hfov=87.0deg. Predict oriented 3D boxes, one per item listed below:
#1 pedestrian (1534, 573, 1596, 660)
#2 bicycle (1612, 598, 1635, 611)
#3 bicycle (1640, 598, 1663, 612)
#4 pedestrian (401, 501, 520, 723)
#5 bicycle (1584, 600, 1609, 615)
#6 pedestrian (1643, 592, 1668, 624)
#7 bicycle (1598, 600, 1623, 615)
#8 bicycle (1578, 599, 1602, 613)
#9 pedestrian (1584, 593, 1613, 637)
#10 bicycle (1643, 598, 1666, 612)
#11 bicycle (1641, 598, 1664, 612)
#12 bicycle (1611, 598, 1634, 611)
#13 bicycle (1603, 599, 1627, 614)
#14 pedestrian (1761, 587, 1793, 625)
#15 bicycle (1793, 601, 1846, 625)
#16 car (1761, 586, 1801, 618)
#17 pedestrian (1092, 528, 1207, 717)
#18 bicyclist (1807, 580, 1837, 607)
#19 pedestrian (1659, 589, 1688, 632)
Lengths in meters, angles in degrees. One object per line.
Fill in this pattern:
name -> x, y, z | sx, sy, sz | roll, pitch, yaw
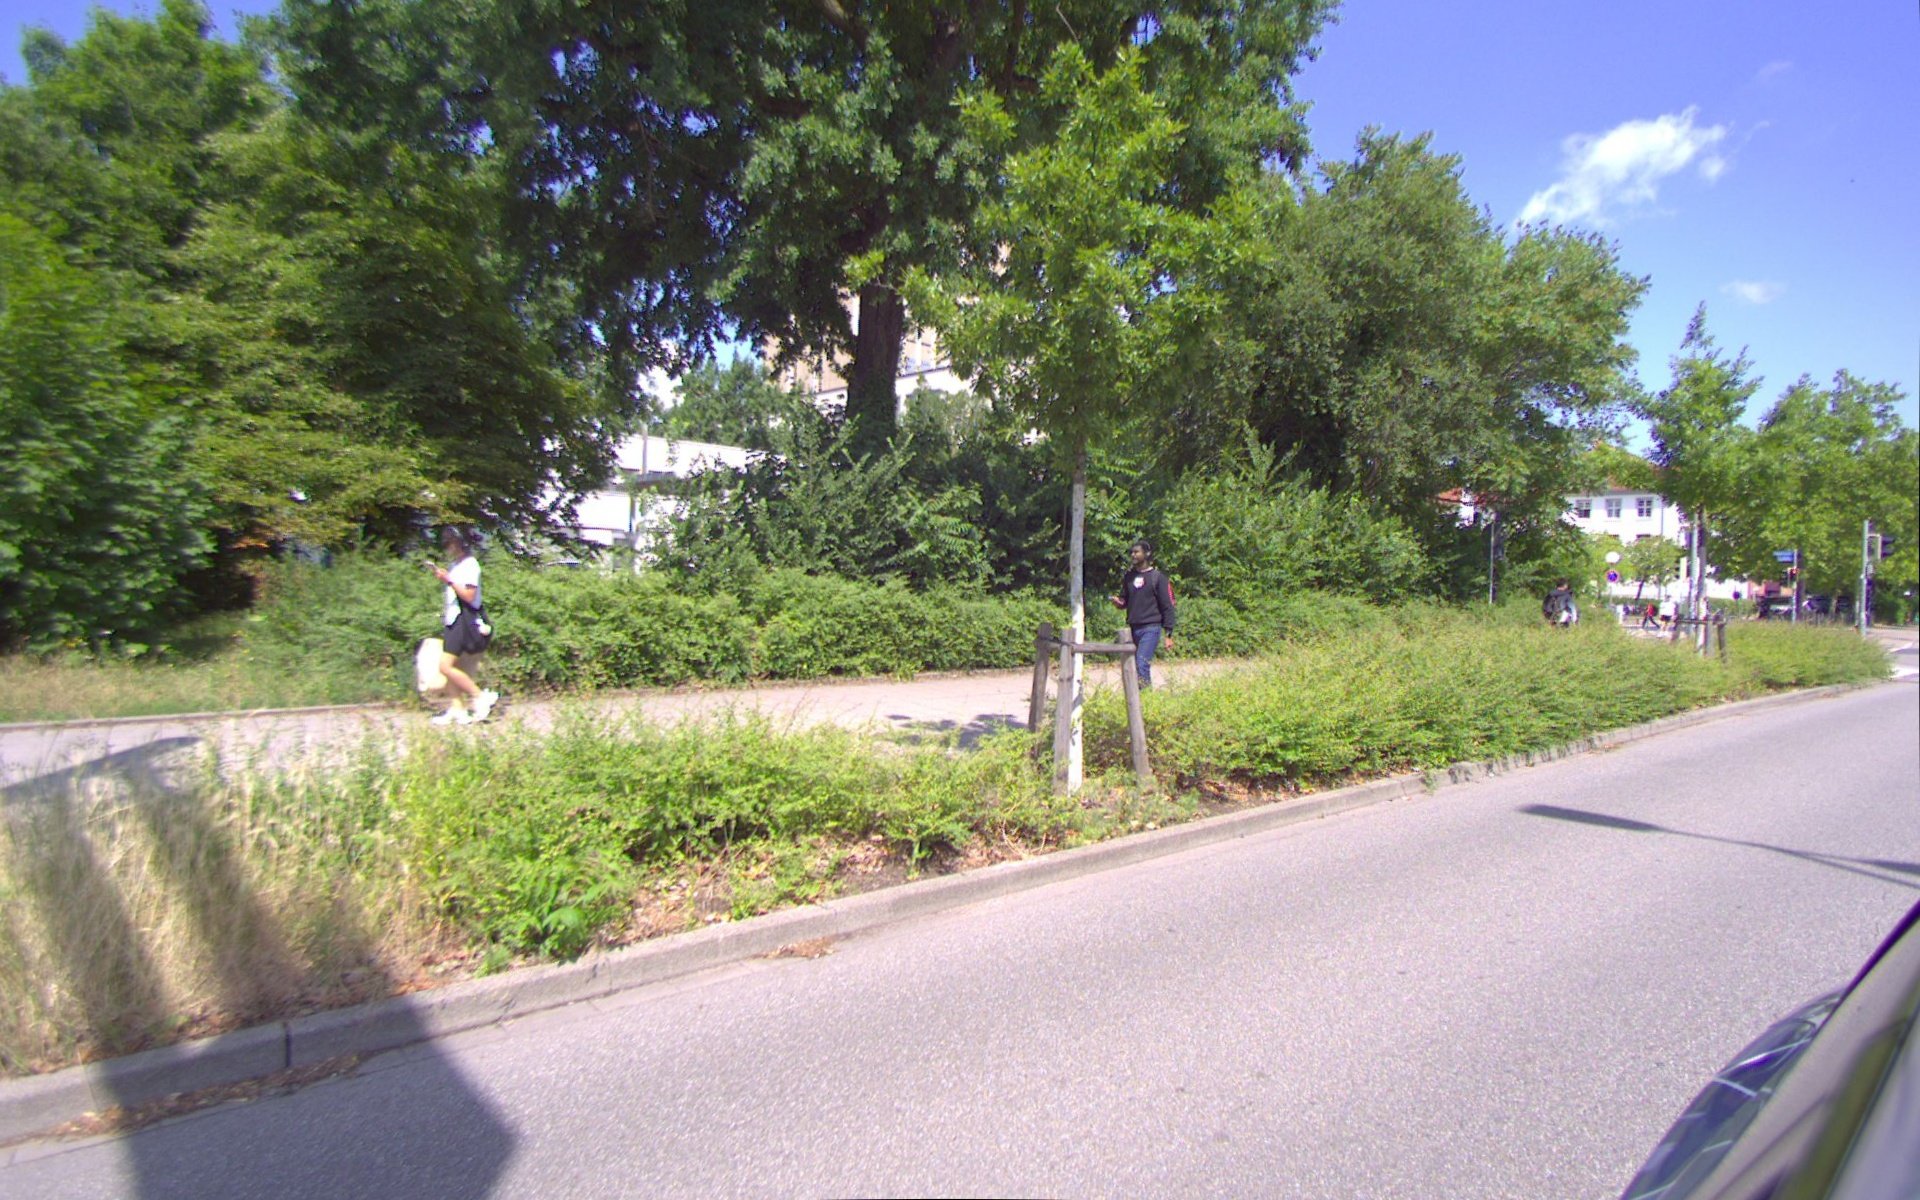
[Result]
pedestrian -> 12.541, 0.321, 20.968 | 0.913, 1.743, 0.815 | 0, 1, -39
bicycle -> 51.703, 0.317, 78.880 | 1.425, 0.963, 0.346 | 2, 1, 45
bicycle -> 52.532, 0.387, 76.880 | 1.425, 0.963, 0.346 | 2, 1, 45
pedestrian -> -4.170, 0.085, 8.444 | 0.733, 1.743, 0.724 | 1, 1, -39
bicycle -> 42.551, 0.505, 67.672 | 1.368, 0.963, 0.346 | 2, 1, 45
pedestrian -> 36.342, 0.421, 52.897 | 1.057, 1.617, 0.960 | 1, 1, 35
bicycle -> 43.803, 0.509, 68.195 | 1.368, 0.963, 0.346 | 2, 1, 45
bicycle -> 45.064, 0.407, 72.355 | 1.408, 0.963, 0.346 | 2, 1, 45
pedestrian -> 24.482, 0.580, 38.824 | 0.632, 1.646, 0.636 | 1, 1, -5
bicycle -> 53.290, 0.376, 77.644 | 1.425, 0.963, 0.346 | 2, 1, 45
bicycle -> 52.858, 0.380, 77.277 | 1.425, 0.963, 0.346 | 2, 1, 45
bicycle -> 51.433, 0.321, 78.573 | 1.425, 0.963, 0.346 | 2, 1, 45
bicycle -> 45.758, 0.465, 70.694 | 1.368, 0.963, 0.346 | 2, 1, 45
pedestrian -> 43.463, 0.306, 53.822 | 0.953, 1.950, 1.033 | 1, 1, -33
bicycle -> 49.043, 0.743, 57.775 | 0.868, 1.267, 2.166 | 1, 1, -35
car -> 57.709, 0.133, 71.099 | 1.992, 2.080, 4.166 | 2, 1, 41
pedestrian -> 1.845, 0.195, 9.874 | 0.822, 1.743, 0.718 | 0, 1, -39
bicyclist -> 49.123, -0.378, 57.666 | 0.953, 1.462, 1.077 | 1, 1, -35
pedestrian -> 32.604, 0.464, 46.241 | 0.956, 1.896, 0.877 | 0, 1, -45
